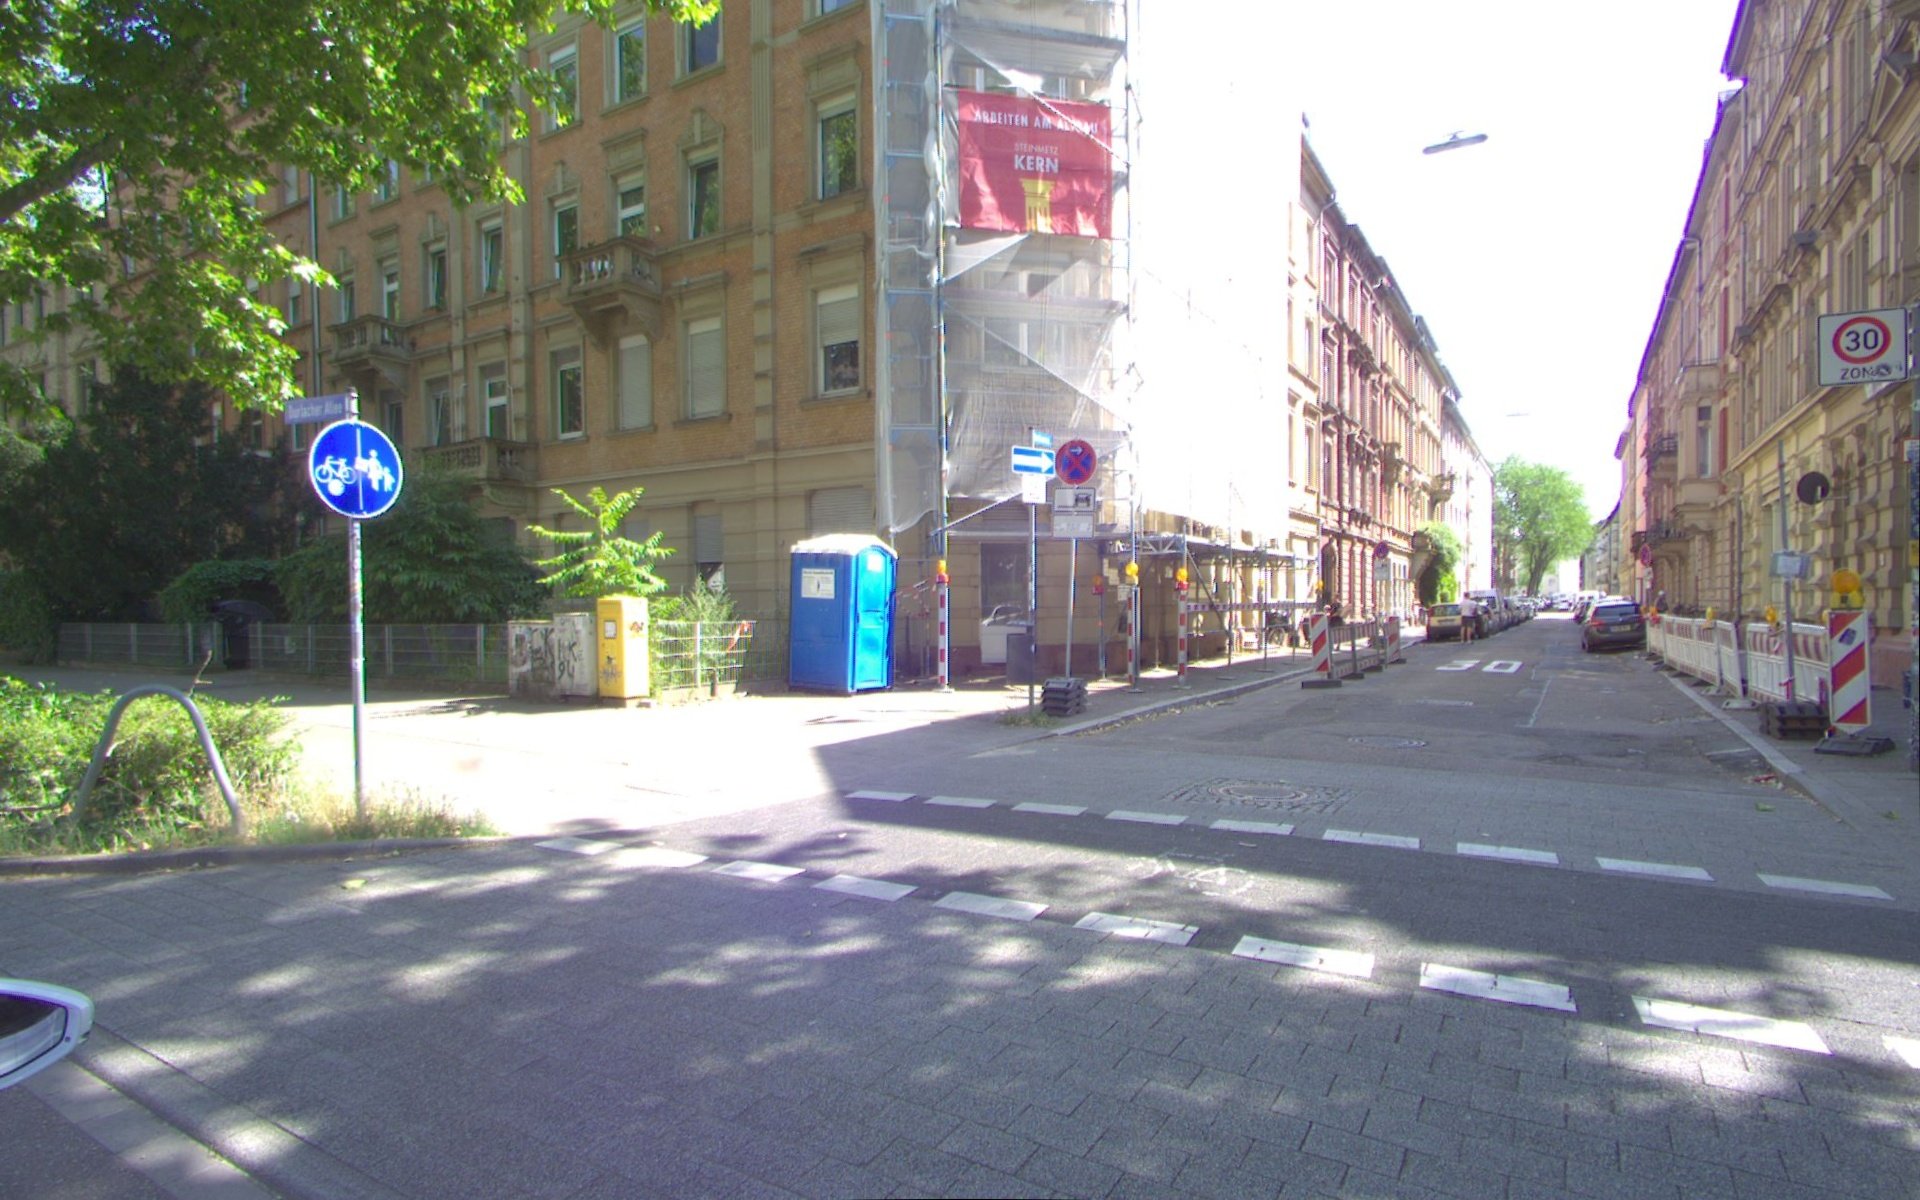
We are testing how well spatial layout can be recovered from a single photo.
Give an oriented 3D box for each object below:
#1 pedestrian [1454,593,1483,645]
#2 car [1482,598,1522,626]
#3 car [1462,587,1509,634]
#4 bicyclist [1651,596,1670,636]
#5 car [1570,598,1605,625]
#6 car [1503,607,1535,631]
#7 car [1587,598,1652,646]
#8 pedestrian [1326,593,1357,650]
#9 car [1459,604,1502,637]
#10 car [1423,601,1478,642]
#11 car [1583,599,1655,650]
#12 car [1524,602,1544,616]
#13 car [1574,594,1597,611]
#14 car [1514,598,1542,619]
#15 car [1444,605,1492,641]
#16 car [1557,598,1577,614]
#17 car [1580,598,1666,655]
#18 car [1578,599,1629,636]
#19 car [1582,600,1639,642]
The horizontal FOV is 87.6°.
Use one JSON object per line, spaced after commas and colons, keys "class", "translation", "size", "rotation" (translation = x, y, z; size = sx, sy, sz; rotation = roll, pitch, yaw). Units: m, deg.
{"class": "pedestrian", "translation": [18.206, 0.678, 35.844], "size": [0.922, 1.822, 1.034], "rotation": [0, 1, 29]}
{"class": "car", "translation": [34.389, 0.733, 63.498], "size": [1.886, 1.732, 4.139], "rotation": [0, 0, 33]}
{"class": "car", "translation": [28.349, 0.541, 53.965], "size": [1.886, 2.405, 4.224], "rotation": [0, 0, 33]}
{"class": "bicyclist", "translation": [26.015, 0.586, 37.186], "size": [0.525, 1.473, 0.458], "rotation": [0, 1, 31]}
{"class": "car", "translation": [43.003, 0.767, 68.733], "size": [1.971, 1.762, 3.979], "rotation": [0, 0, 31]}
{"class": "car", "translation": [42.319, 1.436, 75.795], "size": [1.886, 1.732, 4.139], "rotation": [0, 0, 33]}
{"class": "car", "translation": [25.690, 0.828, 39.142], "size": [1.971, 1.762, 3.979], "rotation": [0, 0, 31]}
{"class": "pedestrian", "translation": [11.854, 0.659, 31.124], "size": [0.843, 1.748, 0.834], "rotation": [0, 0, 19]}
{"class": "car", "translation": [25.748, 0.991, 49.496], "size": [1.702, 1.549, 3.478], "rotation": [0, 0, 30]}
{"class": "car", "translation": [19.506, 0.814, 39.789], "size": [1.702, 1.549, 3.478], "rotation": [0, 0, 30]}
{"class": "car", "translation": [23.021, 0.819, 35.104], "size": [1.971, 1.661, 3.979], "rotation": [0, 0, 31]}
{"class": "car", "translation": [58.262, 0.936, 101.670], "size": [1.646, 1.420, 3.343], "rotation": [0, 0, 32]}
{"class": "car", "translation": [63.353, 0.260, 101.438], "size": [1.971, 1.762, 3.979], "rotation": [0, 0, 31]}
{"class": "car", "translation": [48.061, 0.703, 84.647], "size": [1.886, 1.732, 4.140], "rotation": [0, 0, 32]}
{"class": "car", "translation": [22.572, 0.996, 44.442], "size": [1.702, 1.549, 3.478], "rotation": [0, 0, 30]}
{"class": "car", "translation": [72.218, 0.703, 119.108], "size": [1.971, 1.762, 3.979], "rotation": [0, 0, 31]}
{"class": "car", "translation": [19.692, 0.745, 29.883], "size": [1.971, 1.572, 3.979], "rotation": [0, 0, 31]}
{"class": "car", "translation": [31.743, 0.841, 49.482], "size": [1.971, 1.762, 3.979], "rotation": [0, 0, 31]}
{"class": "car", "translation": [28.467, 0.896, 43.934], "size": [1.971, 1.762, 3.979], "rotation": [0, 0, 31]}
